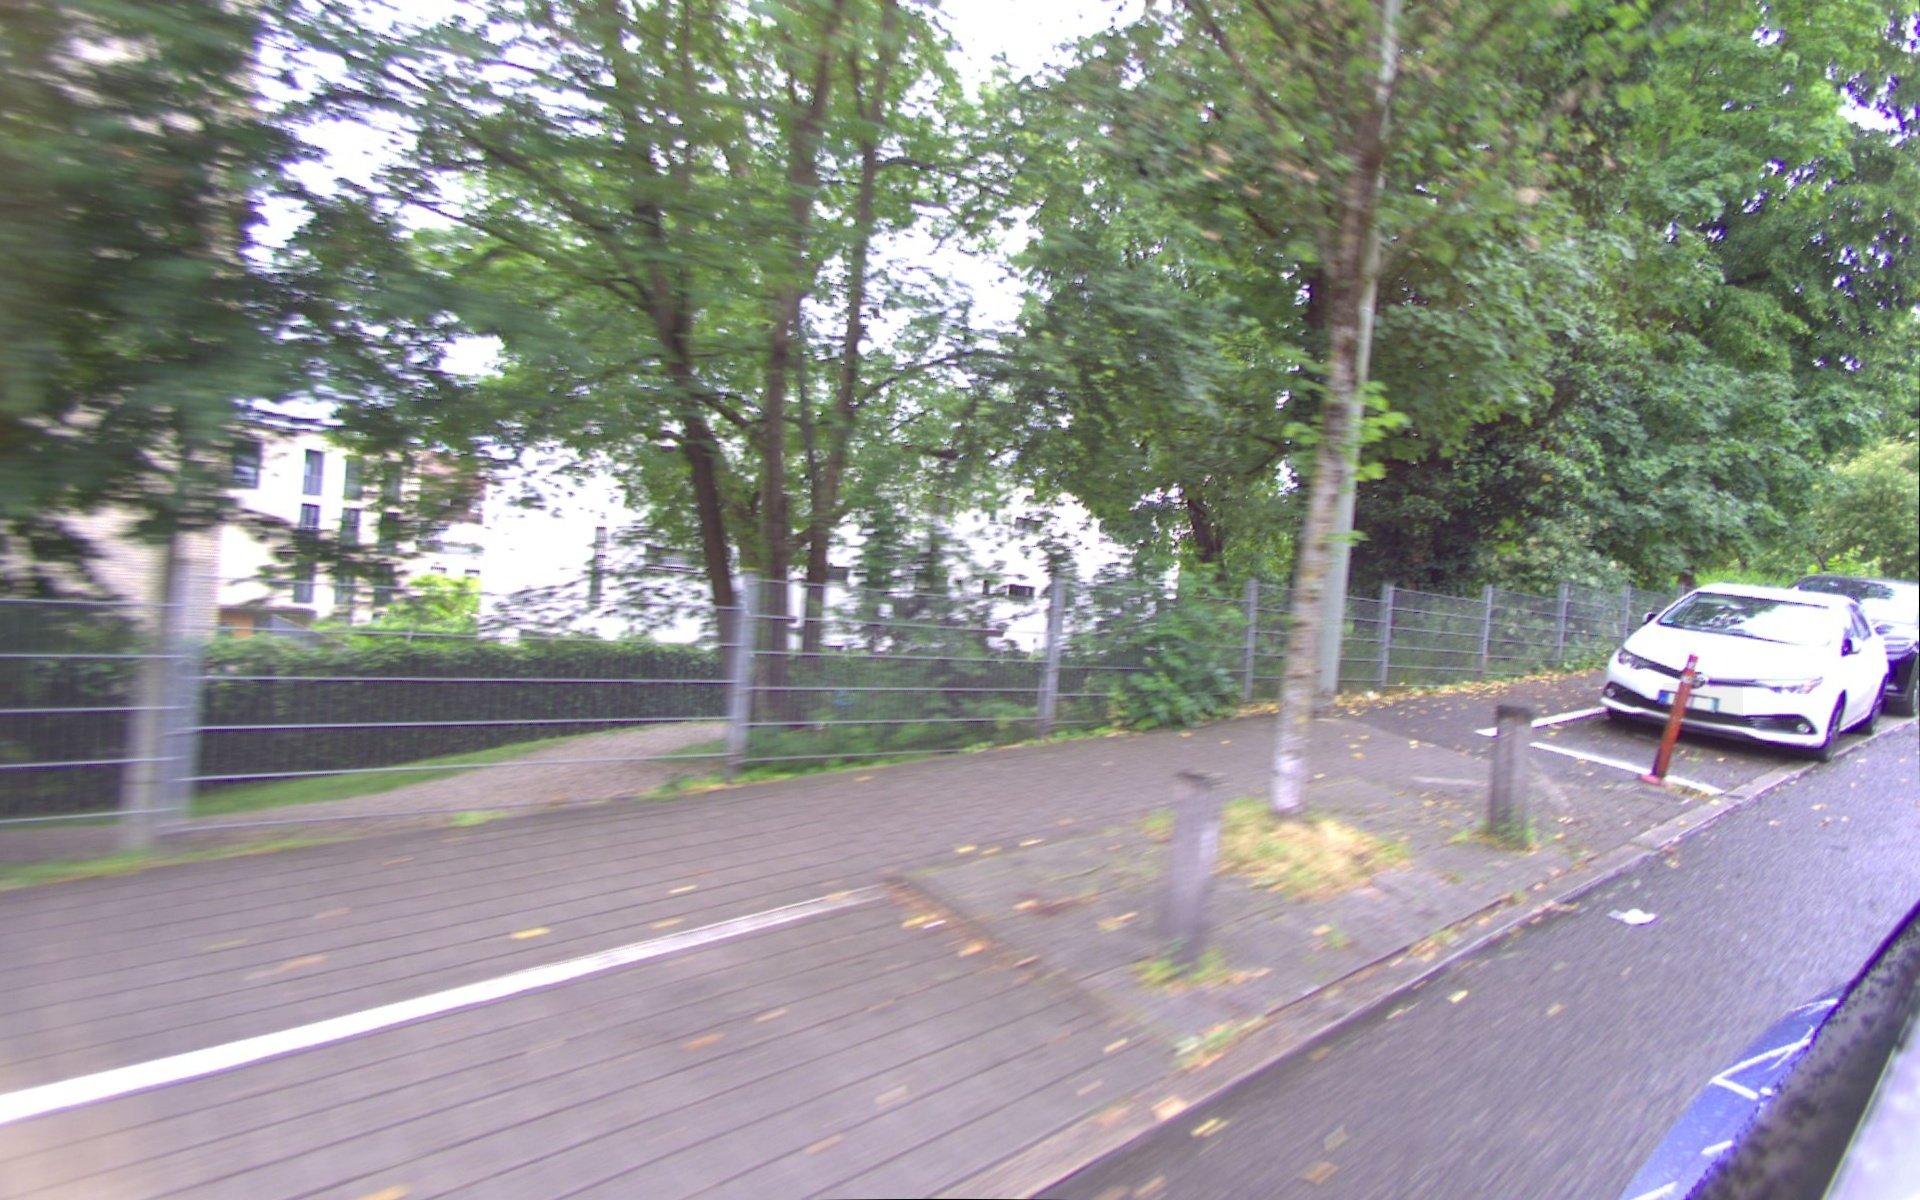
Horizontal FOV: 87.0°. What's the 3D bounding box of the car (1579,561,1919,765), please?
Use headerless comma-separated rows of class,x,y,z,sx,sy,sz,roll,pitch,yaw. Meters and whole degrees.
car,8.286,0.533,10.386,4.797,1.479,1.747,1,6,-41

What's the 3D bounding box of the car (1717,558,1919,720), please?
car,12.350,0.470,13.835,4.795,1.670,1.927,2,6,-39

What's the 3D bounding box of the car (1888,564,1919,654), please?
car,20.315,0.277,20.006,4.727,1.669,1.976,0,7,-38
